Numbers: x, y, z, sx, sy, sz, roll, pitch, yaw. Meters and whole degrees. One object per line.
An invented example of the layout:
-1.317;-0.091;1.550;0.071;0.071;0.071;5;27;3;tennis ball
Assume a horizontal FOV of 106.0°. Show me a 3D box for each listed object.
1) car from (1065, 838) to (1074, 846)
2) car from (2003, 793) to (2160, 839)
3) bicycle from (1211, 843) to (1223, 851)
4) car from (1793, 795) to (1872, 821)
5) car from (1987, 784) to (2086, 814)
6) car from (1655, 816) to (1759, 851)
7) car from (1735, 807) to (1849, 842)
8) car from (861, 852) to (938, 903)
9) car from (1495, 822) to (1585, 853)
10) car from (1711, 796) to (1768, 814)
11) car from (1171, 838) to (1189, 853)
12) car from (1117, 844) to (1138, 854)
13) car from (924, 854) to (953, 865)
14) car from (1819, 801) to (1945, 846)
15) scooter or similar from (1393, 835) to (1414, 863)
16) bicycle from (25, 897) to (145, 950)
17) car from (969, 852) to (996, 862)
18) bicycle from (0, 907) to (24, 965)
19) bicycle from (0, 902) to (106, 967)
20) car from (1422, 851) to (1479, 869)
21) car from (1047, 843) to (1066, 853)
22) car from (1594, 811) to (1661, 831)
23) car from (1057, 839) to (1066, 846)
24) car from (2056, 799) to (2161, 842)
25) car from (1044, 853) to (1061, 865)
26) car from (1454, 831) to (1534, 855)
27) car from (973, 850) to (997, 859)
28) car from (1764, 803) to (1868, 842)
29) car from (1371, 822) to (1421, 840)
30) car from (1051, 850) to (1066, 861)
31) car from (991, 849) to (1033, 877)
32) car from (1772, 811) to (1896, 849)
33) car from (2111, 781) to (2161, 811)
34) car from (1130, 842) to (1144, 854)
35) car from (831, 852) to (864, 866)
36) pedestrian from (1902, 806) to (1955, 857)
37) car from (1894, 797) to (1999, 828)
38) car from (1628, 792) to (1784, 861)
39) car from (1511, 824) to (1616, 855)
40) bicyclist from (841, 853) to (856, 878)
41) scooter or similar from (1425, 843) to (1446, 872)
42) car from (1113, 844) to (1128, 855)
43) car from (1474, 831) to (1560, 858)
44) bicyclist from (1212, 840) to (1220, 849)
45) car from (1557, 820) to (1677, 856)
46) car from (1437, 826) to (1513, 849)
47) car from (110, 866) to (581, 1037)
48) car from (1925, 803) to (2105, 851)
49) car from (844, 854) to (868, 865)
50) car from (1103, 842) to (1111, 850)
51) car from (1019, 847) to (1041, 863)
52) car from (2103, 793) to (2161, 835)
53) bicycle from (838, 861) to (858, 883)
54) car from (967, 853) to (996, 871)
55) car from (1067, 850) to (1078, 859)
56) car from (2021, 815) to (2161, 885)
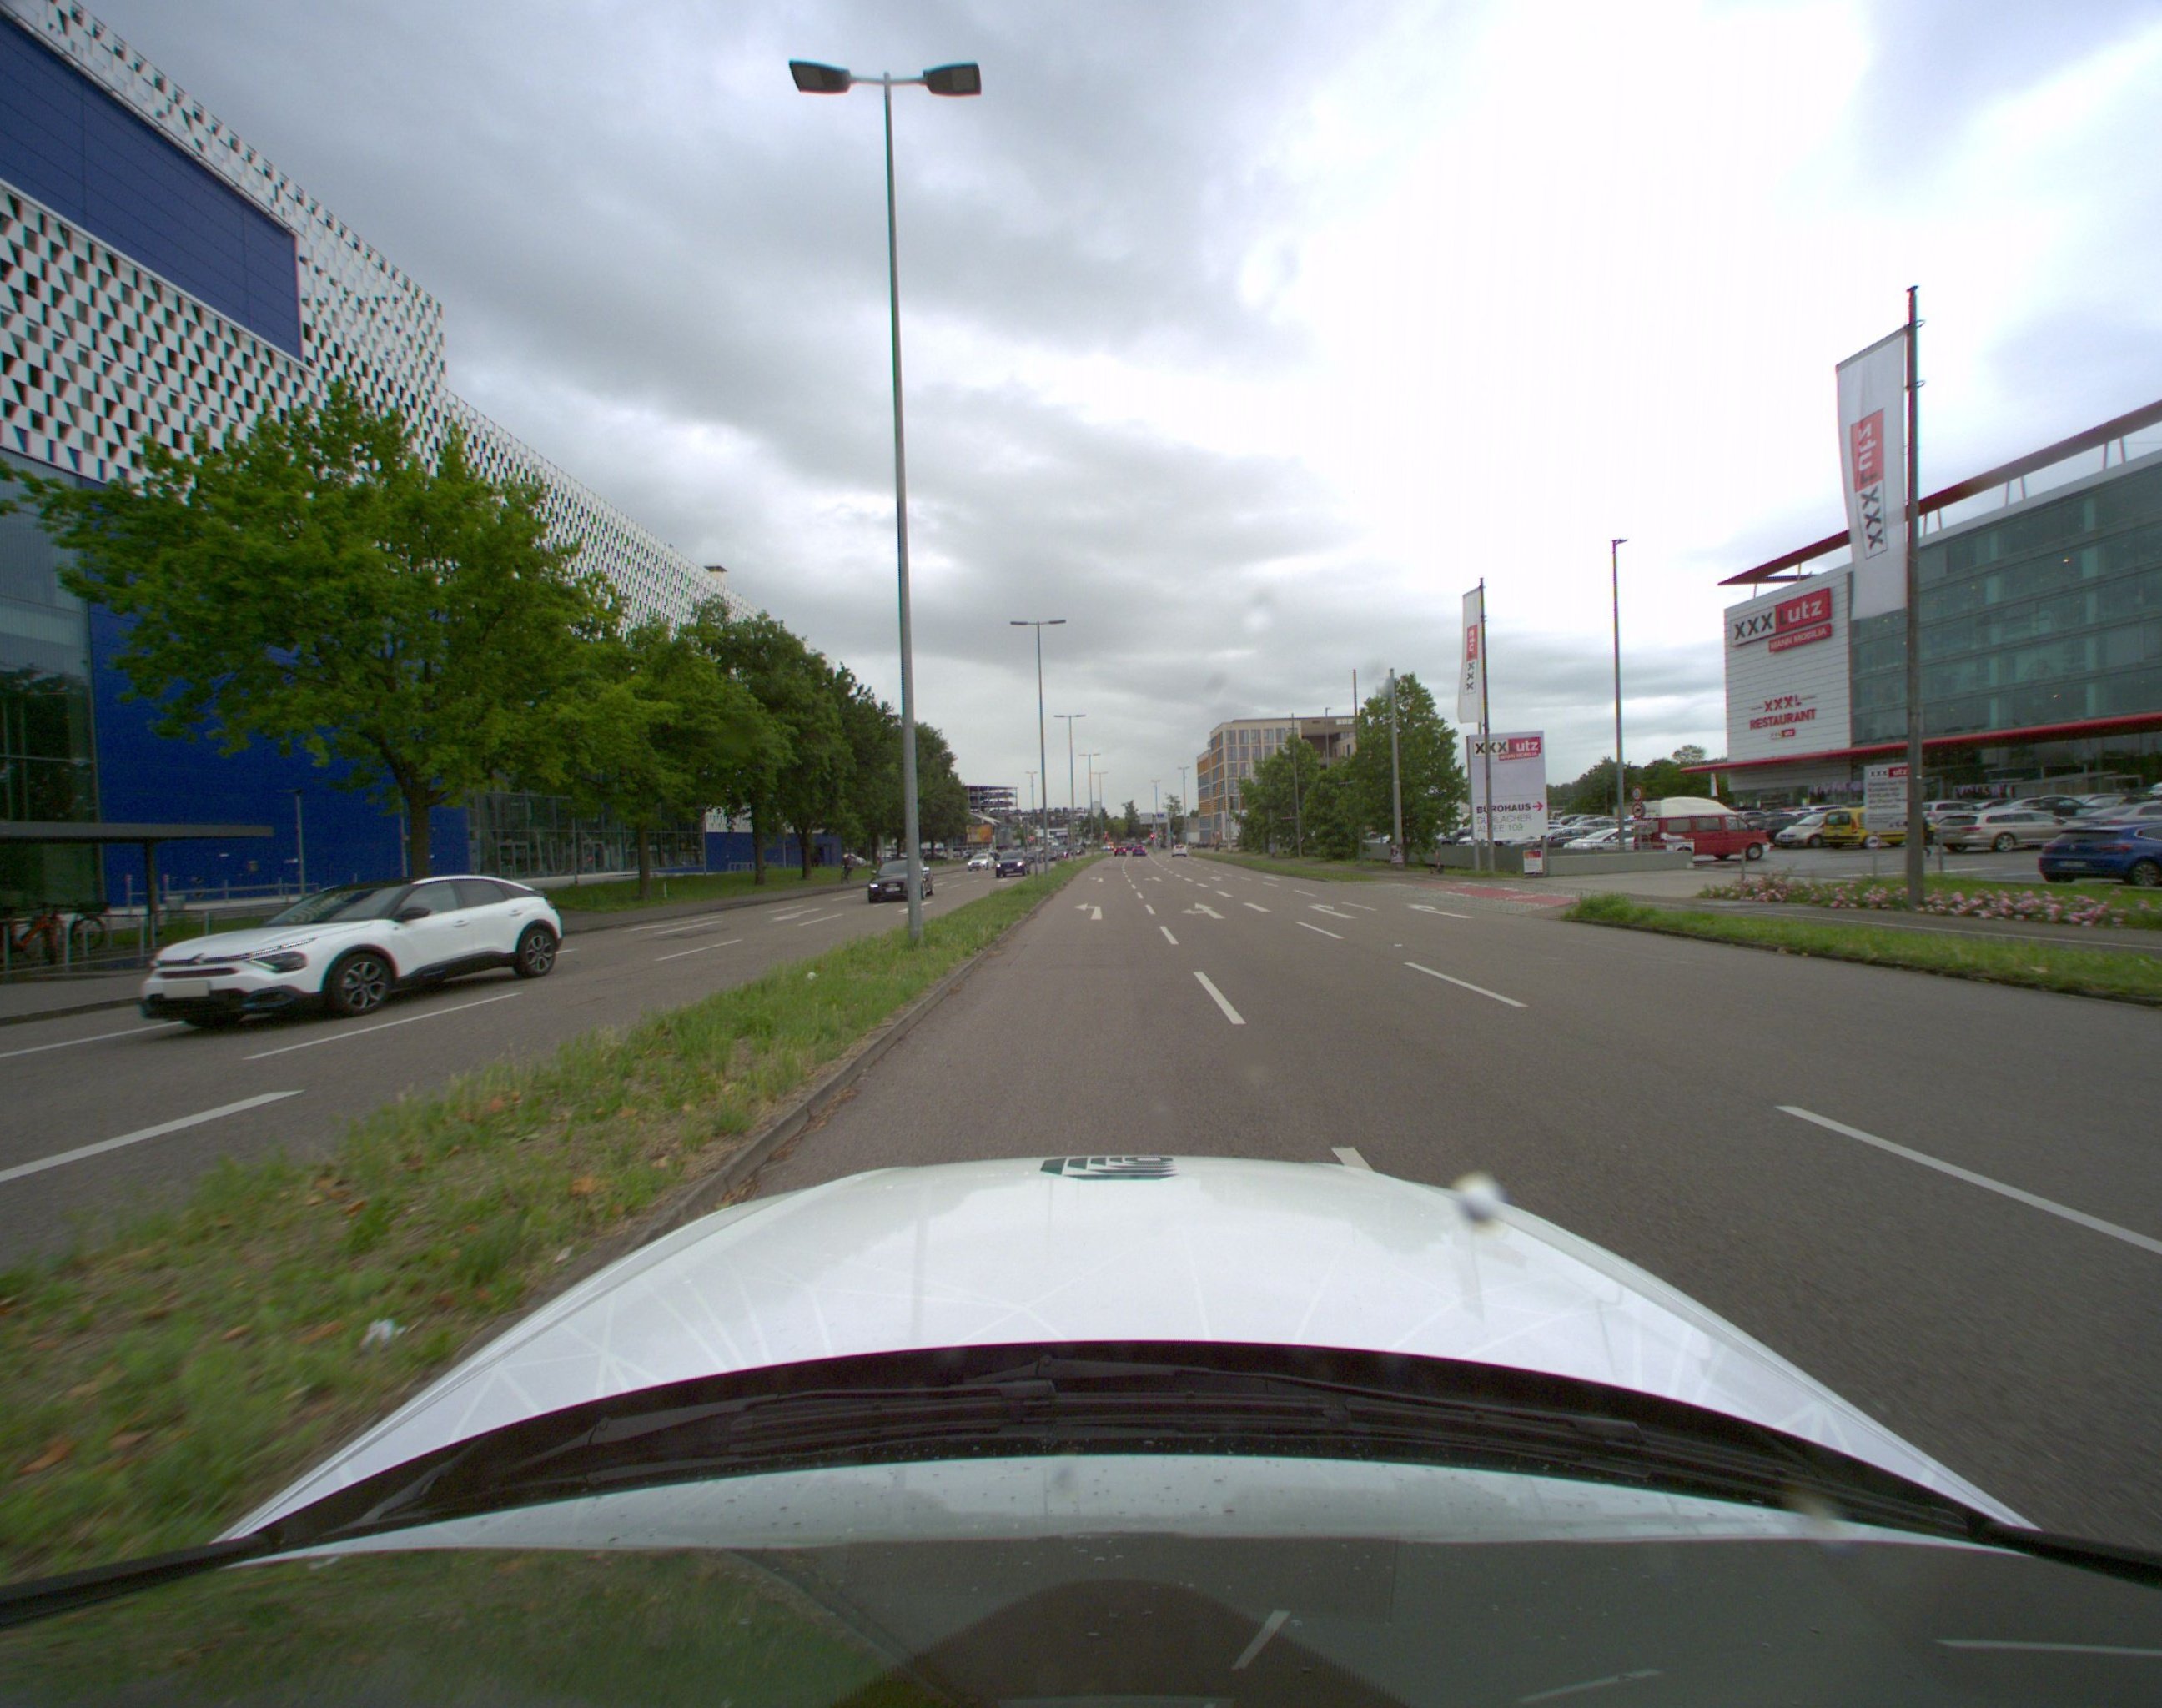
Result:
-3.021;-3.184;216.169;1.766;1.705;3.926;-2;3;8;car
40.124;-1.494;32.743;3.969;1.634;1.788;-2;0;3;car
21.300;-1.071;127.515;0.705;1.295;1.990;-2;1;-33;bicycle
50.805;-3.103;55.104;3.550;1.587;1.743;-2;0;6;car
55.981;-3.200;47.765;3.757;1.553;1.744;-2;3;2;car
34.919;-1.162;45.541;4.292;1.743;1.892;-2;2;4;car
35.077;-1.437;40.237;3.973;1.534;1.889;-2;1;1;car
-6.312;0.763;28.841;1.879;1.436;4.426;-5;1;-3;car
25.526;-0.918;45.358;4.037;1.540;1.766;-2;3;3;car
57.878;-4.305;71.583;3.577;1.375;1.704;-2;3;4;car
12.557;-1.061;103.065;1.985;1.752;4.185;-2;1;4;car
8.916;-0.965;157.533;3.847;1.634;1.723;-2;3;-3;car
-24.746;0.901;141.561;4.534;1.659;1.998;-3;1;-4;car
34.831;-1.325;35.477;3.720;1.767;1.736;-2;2;3;car
17.094;-0.288;43.153;0.646;1.421;1.824;-3;0;11;scooter or similar
-21.913;1.519;17.935;2.007;1.122;0.594;0;0;3;bicycle
-17.139;0.556;141.967;4.407;1.660;1.997;-2;0;-4;car
-21.678;1.594;15.720;1.803;1.082;0.594;0;0;1;bicycle
-20.166;1.549;15.954;2.000;1.157;0.596;0;0;16;bicycle
31.323;0.488;69.028;4.040;1.350;1.764;-1;0;0;car
-5.100;-1.289;172.230;3.976;1.789;1.846;-2;3;-2;car
38.295;-2.333;57.113;3.553;1.296;1.669;-2;3;2;car
-5.201;-3.108;216.226;1.766;1.705;3.926;-2;3;8;car
39.470;-1.282;30.251;4.221;1.468;1.741;-2;3;3;car
-3.667;0.639;104.985;1.765;1.452;4.407;-4;0;2;car
25.635;-0.697;50.630;4.040;1.350;1.764;-2;3;1;car
-18.485;0.135;156.894;4.407;1.660;1.997;-2;0;-4;car
40.916;-1.733;45.412;3.970;2.013;1.979;-2;0;3;car
26.151;-1.933;67.648;3.506;1.307;1.605;-2;3;-3;car
-3.282;0.195;120.782;1.773;1.455;4.185;-4;1;2;car
-4.098;0.506;49.076;1.924;1.486;4.440;-4;0;1;car
35.067;-1.132;38.012;3.970;1.595;1.881;-2;3;3;car
57.593;-3.118;43.105;3.779;1.553;1.831;-2;3;1;car
7.906;-0.808;114.778;1.827;1.514;4.004;-2;2;3;car
-40.484;0.860;141.325;5.118;1.963;1.880;-3;4;-2;car
29.685;-0.808;28.530;0.936;1.719;0.886;-2;2;0;pedestrian
50.346;-2.409;47.419;3.968;1.610;1.885;-2;3;4;car
25.435;-1.142;33.282;4.702;2.578;2.173;-2;2;3;car
25.540;-0.799;43.183;4.447;1.419;1.869;-2;3;3;car
-14.510;0.713;50.826;0.638;1.577;1.000;-1;1;1;bicyclist
15.304;0.136;35.139;0.368;1.190;1.249;-2;1;2;scooter or similar
5.803;-0.643;119.571;1.980;1.428;4.242;-2;0;1;car
25.562;-0.560;47.826;4.040;1.350;1.836;-2;3;1;car
21.161;-1.488;127.693;0.705;1.503;0.990;-2;1;-33;bicyclist
25.056;-0.777;38.196;4.356;1.461;1.963;-2;3;3;car
25.918;-1.100;53.648;4.137;1.350;1.810;-2;3;1;car
-8.684;1.019;10.277;1.923;1.519;4.185;-4;0;3;car
34.444;-1.020;30.126;4.392;1.583;1.836;-2;3;3;car
-40.009;1.010;145.015;3.749;1.746;1.880;-2;3;-1;car
5.519;-1.670;175.563;1.594;1.453;3.328;-2;3;3;car
-5.388;0.083;87.047;1.750;1.453;4.004;-4;0;3;car
50.326;-1.872;37.626;3.976;1.839;1.840;-2;0;-2;car
-14.525;1.098;50.812;0.640;1.251;2.057;-1;1;2;bicycle
-8.987;0.703;73.546;1.859;1.454;4.171;-4;0;2;car
-1.498;0.016;141.393;1.926;1.455;4.179;-2;1;-2;car
24.375;-0.141;18.436;3.971;1.455;1.816;-2;0;2;car
